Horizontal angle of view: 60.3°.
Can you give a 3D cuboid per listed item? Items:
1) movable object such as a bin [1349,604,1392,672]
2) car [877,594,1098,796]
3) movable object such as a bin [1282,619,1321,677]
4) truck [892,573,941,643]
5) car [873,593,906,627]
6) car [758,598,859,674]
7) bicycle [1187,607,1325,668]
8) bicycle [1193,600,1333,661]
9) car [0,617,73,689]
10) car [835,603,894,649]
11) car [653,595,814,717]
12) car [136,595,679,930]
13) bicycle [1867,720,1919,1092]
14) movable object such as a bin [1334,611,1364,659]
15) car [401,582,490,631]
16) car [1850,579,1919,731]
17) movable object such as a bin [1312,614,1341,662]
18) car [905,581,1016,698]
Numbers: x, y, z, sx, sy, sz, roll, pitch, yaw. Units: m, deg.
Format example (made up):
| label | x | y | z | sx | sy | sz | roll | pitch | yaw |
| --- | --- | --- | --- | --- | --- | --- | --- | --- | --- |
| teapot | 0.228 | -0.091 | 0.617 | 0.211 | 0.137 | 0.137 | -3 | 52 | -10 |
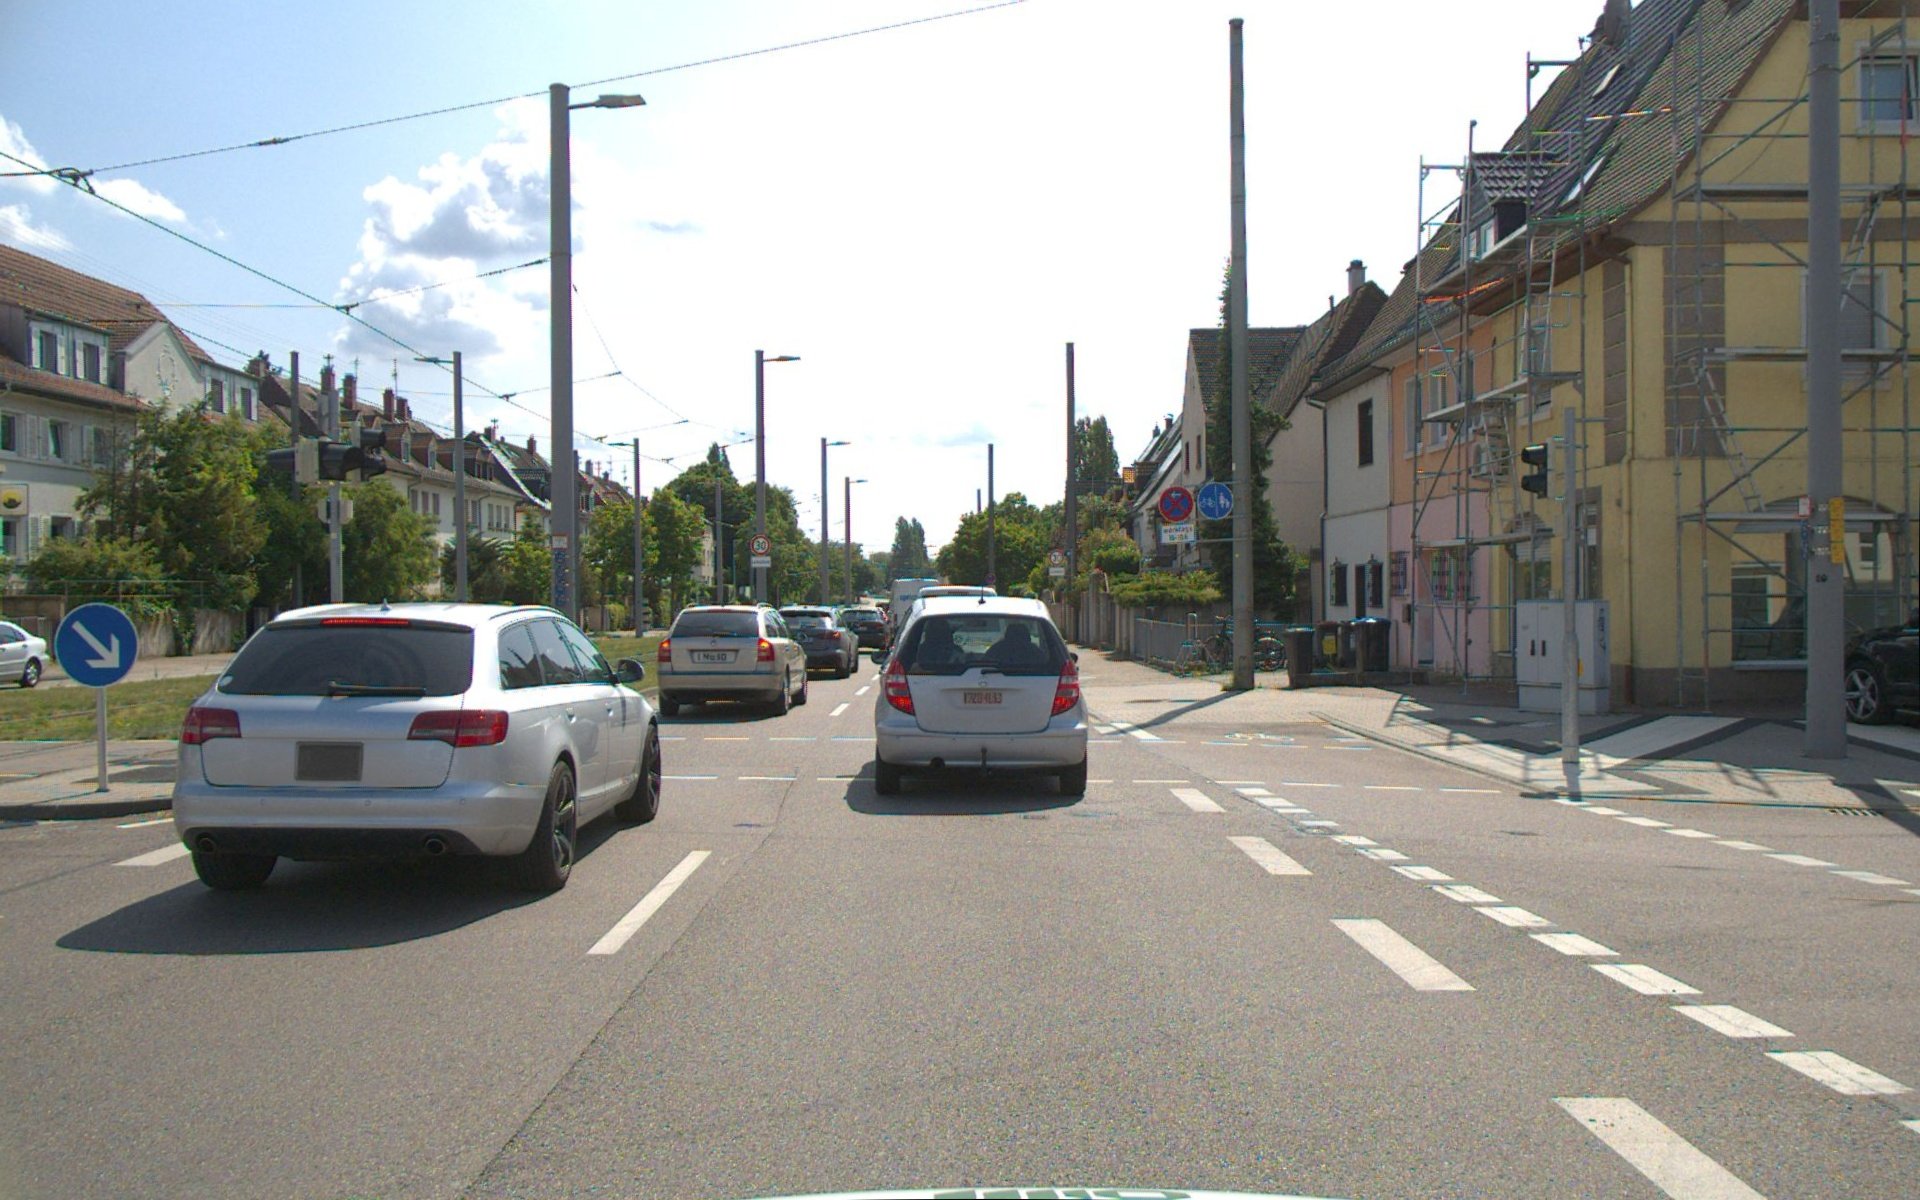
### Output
| label | x | y | z | sx | sy | sz | roll | pitch | yaw |
| --- | --- | --- | --- | --- | --- | --- | --- | --- | --- |
| movable object such as a bin | 6.888 | 0.624 | 27.781 | 0.501 | 1.124 | 0.855 | 0 | 0 | 0 |
| car | 0.140 | 0.739 | 14.772 | 1.695 | 1.543 | 4.015 | 1 | 0 | -2 |
| movable object such as a bin | 5.704 | 0.795 | 27.657 | 0.501 | 0.934 | 0.741 | 0 | 0 | 0 |
| truck | -1.771 | 0.305 | 65.398 | 1.815 | 2.597 | 5.852 | 1 | 0 | -2 |
| car | -3.980 | 0.560 | 93.266 | 1.815 | 1.875 | 3.916 | 1 | 0 | -2 |
| car | -3.205 | 0.731 | 35.776 | 1.878 | 1.503 | 4.561 | 1 | 0 | -2 |
| bicycle | 6.040 | 0.766 | 33.849 | 2.671 | 1.139 | 0.691 | -2 | 0 | -2 |
| bicycle | 6.049 | 0.610 | 33.099 | 2.608 | 1.124 | 0.786 | -2 | 0 | -2 |
| car | -20.069 | 1.098 | 33.490 | 1.758 | 1.411 | 4.471 | -2 | 0 | 0 |
| car | -3.079 | 0.824 | 53.895 | 1.815 | 1.413 | 4.512 | 1 | 0 | -2 |
| car | -3.067 | 0.705 | 23.164 | 1.696 | 1.474 | 4.123 | 1 | 1 | -1 |
| car | -2.909 | 0.730 | 9.880 | 1.758 | 1.497 | 4.721 | 0 | 0 | -1 |
| bicycle | 3.301 | 0.929 | 4.222 | 0.811 | 1.094 | 1.970 | -2 | 1 | -2 |
| movable object such as a bin | 7.893 | 0.705 | 33.565 | 0.458 | 0.963 | 0.558 | -1 | 0 | -1 |
| car | -19.678 | 0.258 | 63.461 | 1.974 | 1.741 | 4.935 | -2 | 0 | -2 |
| car | 11.232 | 0.599 | 16.978 | 1.953 | 1.624 | 4.130 | 1 | 0 | 0 |
| movable object such as a bin | 7.436 | 0.773 | 33.563 | 0.458 | 0.963 | 0.558 | -1 | 0 | -1 |
| car | 0.013 | 0.617 | 27.633 | 1.694 | 1.793 | 4.016 | 1 | 0 | 0 |
